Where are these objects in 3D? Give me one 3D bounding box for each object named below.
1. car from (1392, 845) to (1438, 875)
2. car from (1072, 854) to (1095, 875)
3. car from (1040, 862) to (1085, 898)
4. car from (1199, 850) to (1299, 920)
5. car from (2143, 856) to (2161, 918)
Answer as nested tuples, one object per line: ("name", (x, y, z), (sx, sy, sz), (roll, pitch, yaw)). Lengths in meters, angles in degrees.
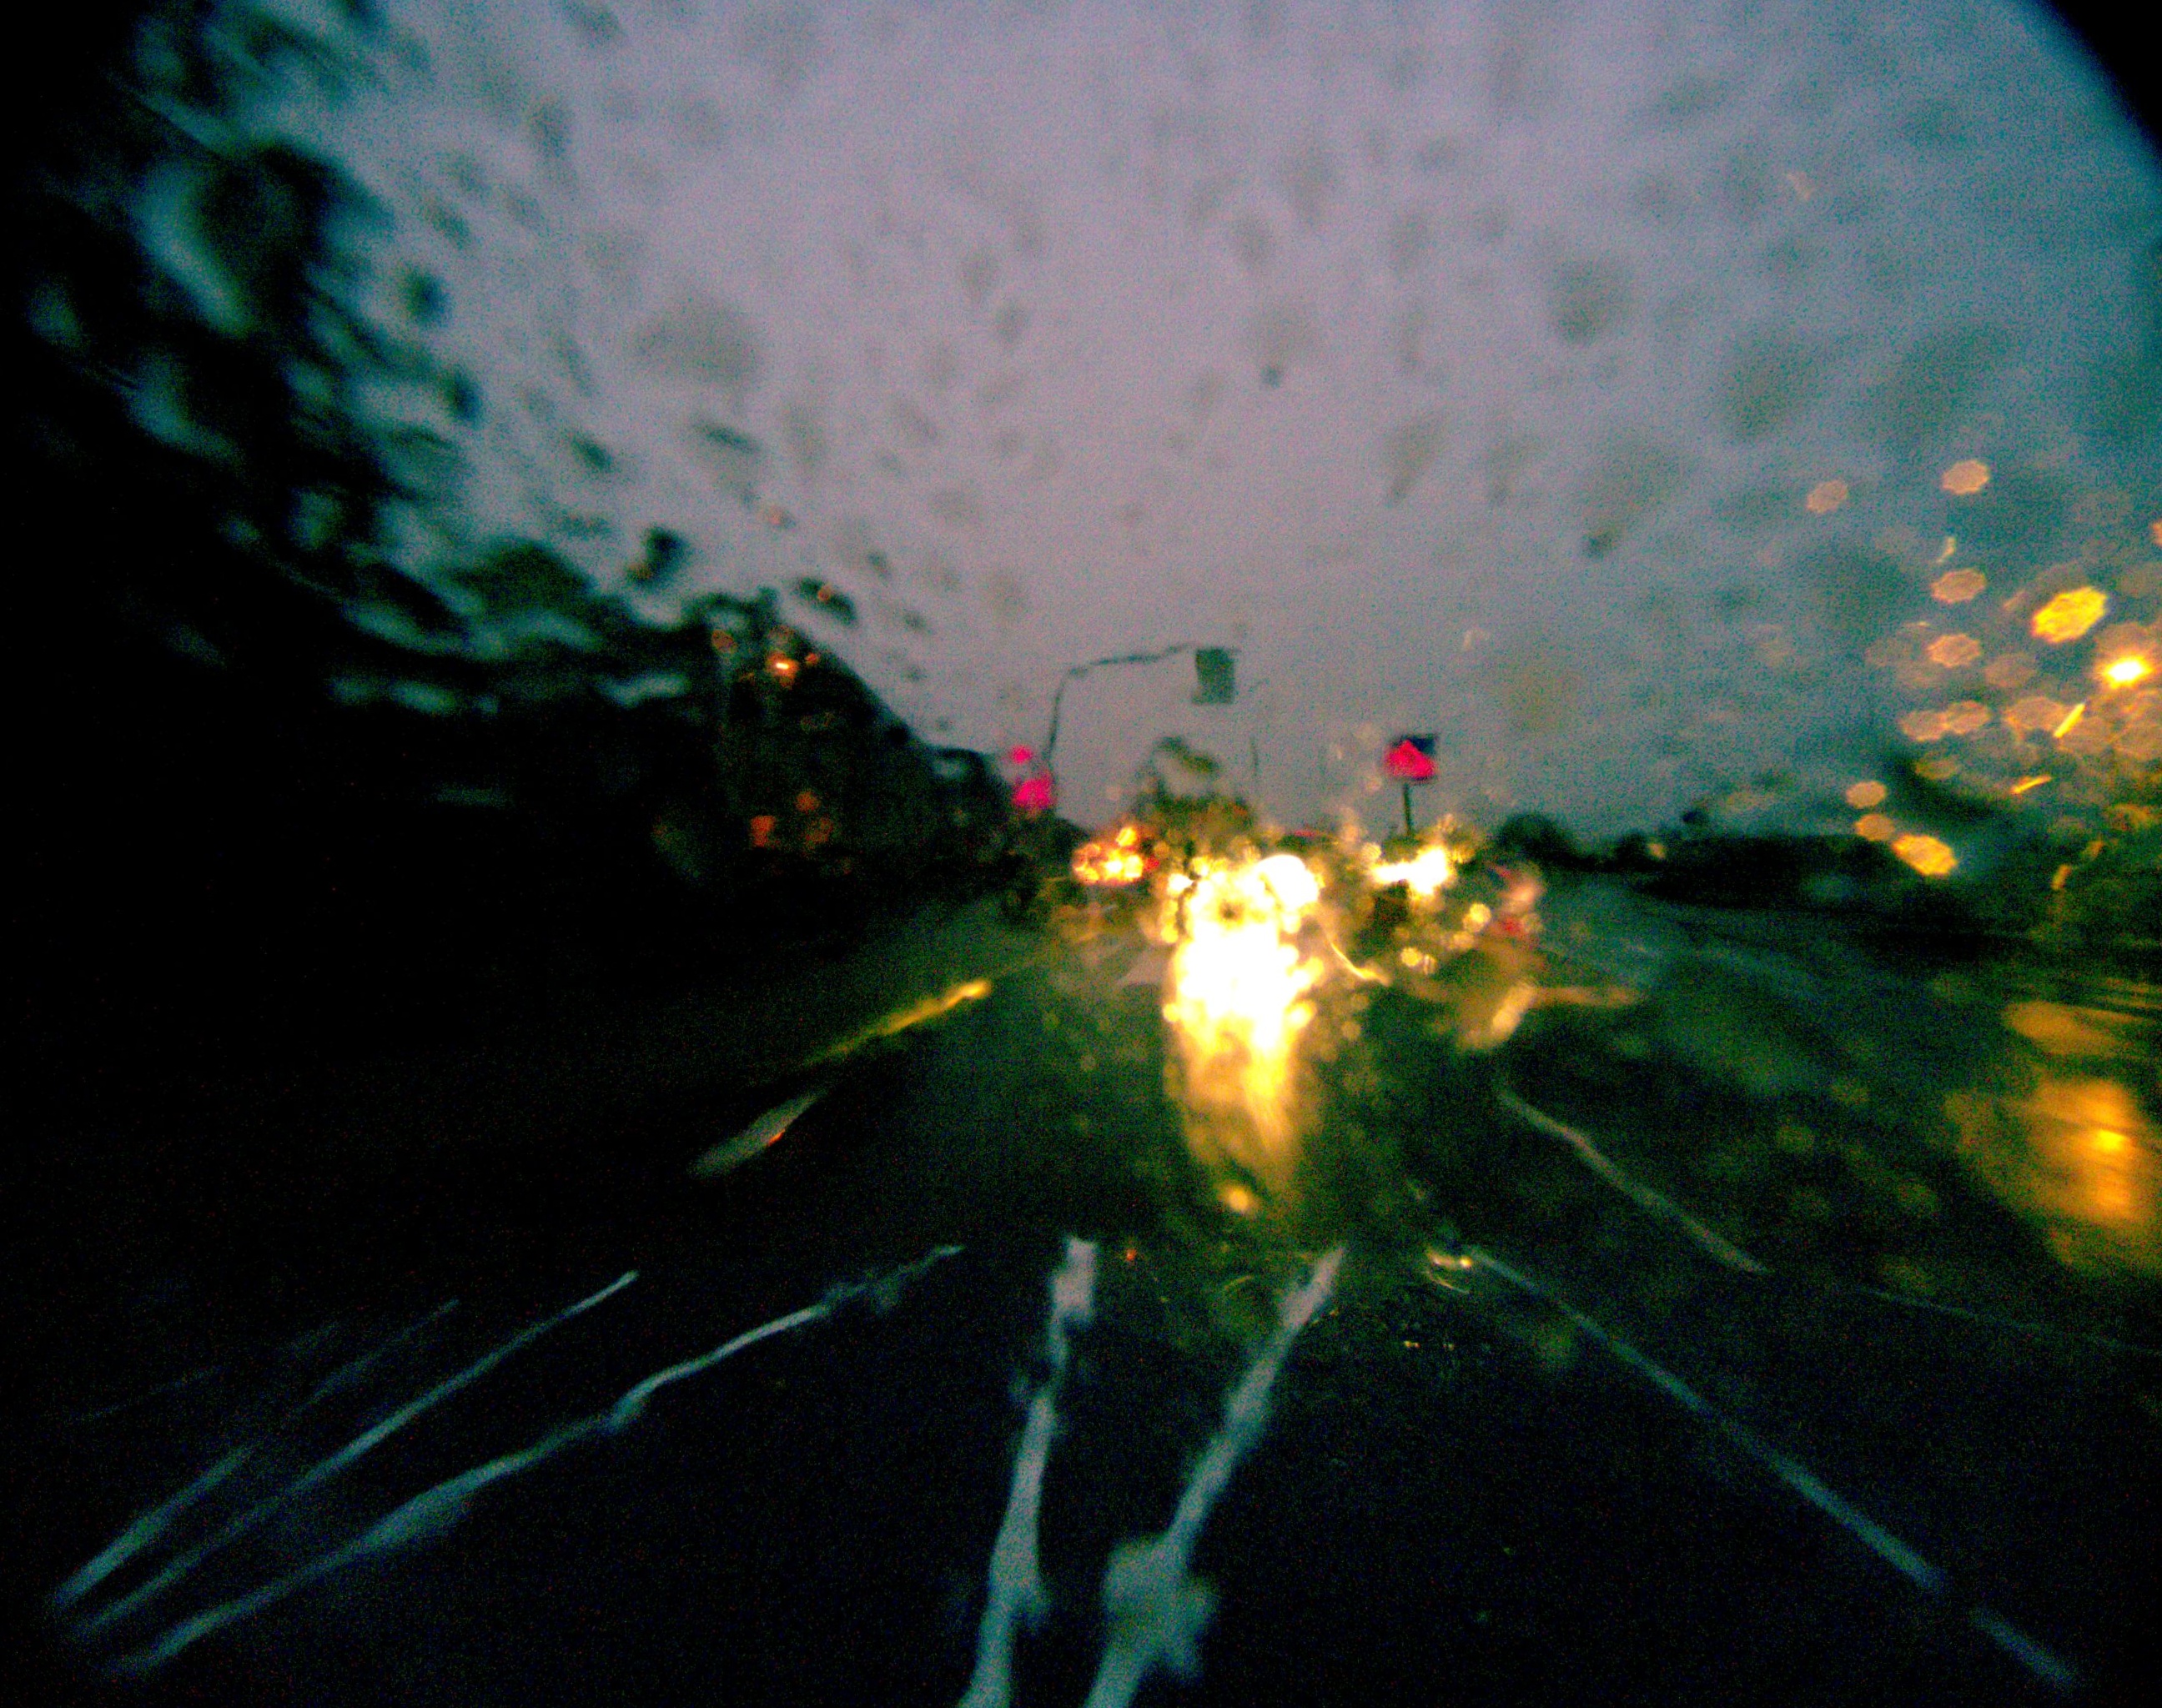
("car", (17.224, 0.276, 39.054), (1.995, 1.464, 4.007), (-1, 0, 26))
("car", (0.218, 0.872, 65.897), (1.947, 1.795, 4.172), (-1, 0, 0))
("car", (-0.766, 1.093, 32.981), (1.776, 1.422, 3.797), (-1, 0, 1))
("car", (4.548, 0.726, 20.027), (1.773, 1.632, 4.429), (0, 0, 23))
("car", (28.164, 0.845, 17.021), (1.690, 1.528, 4.776), (0, 1, -20))
